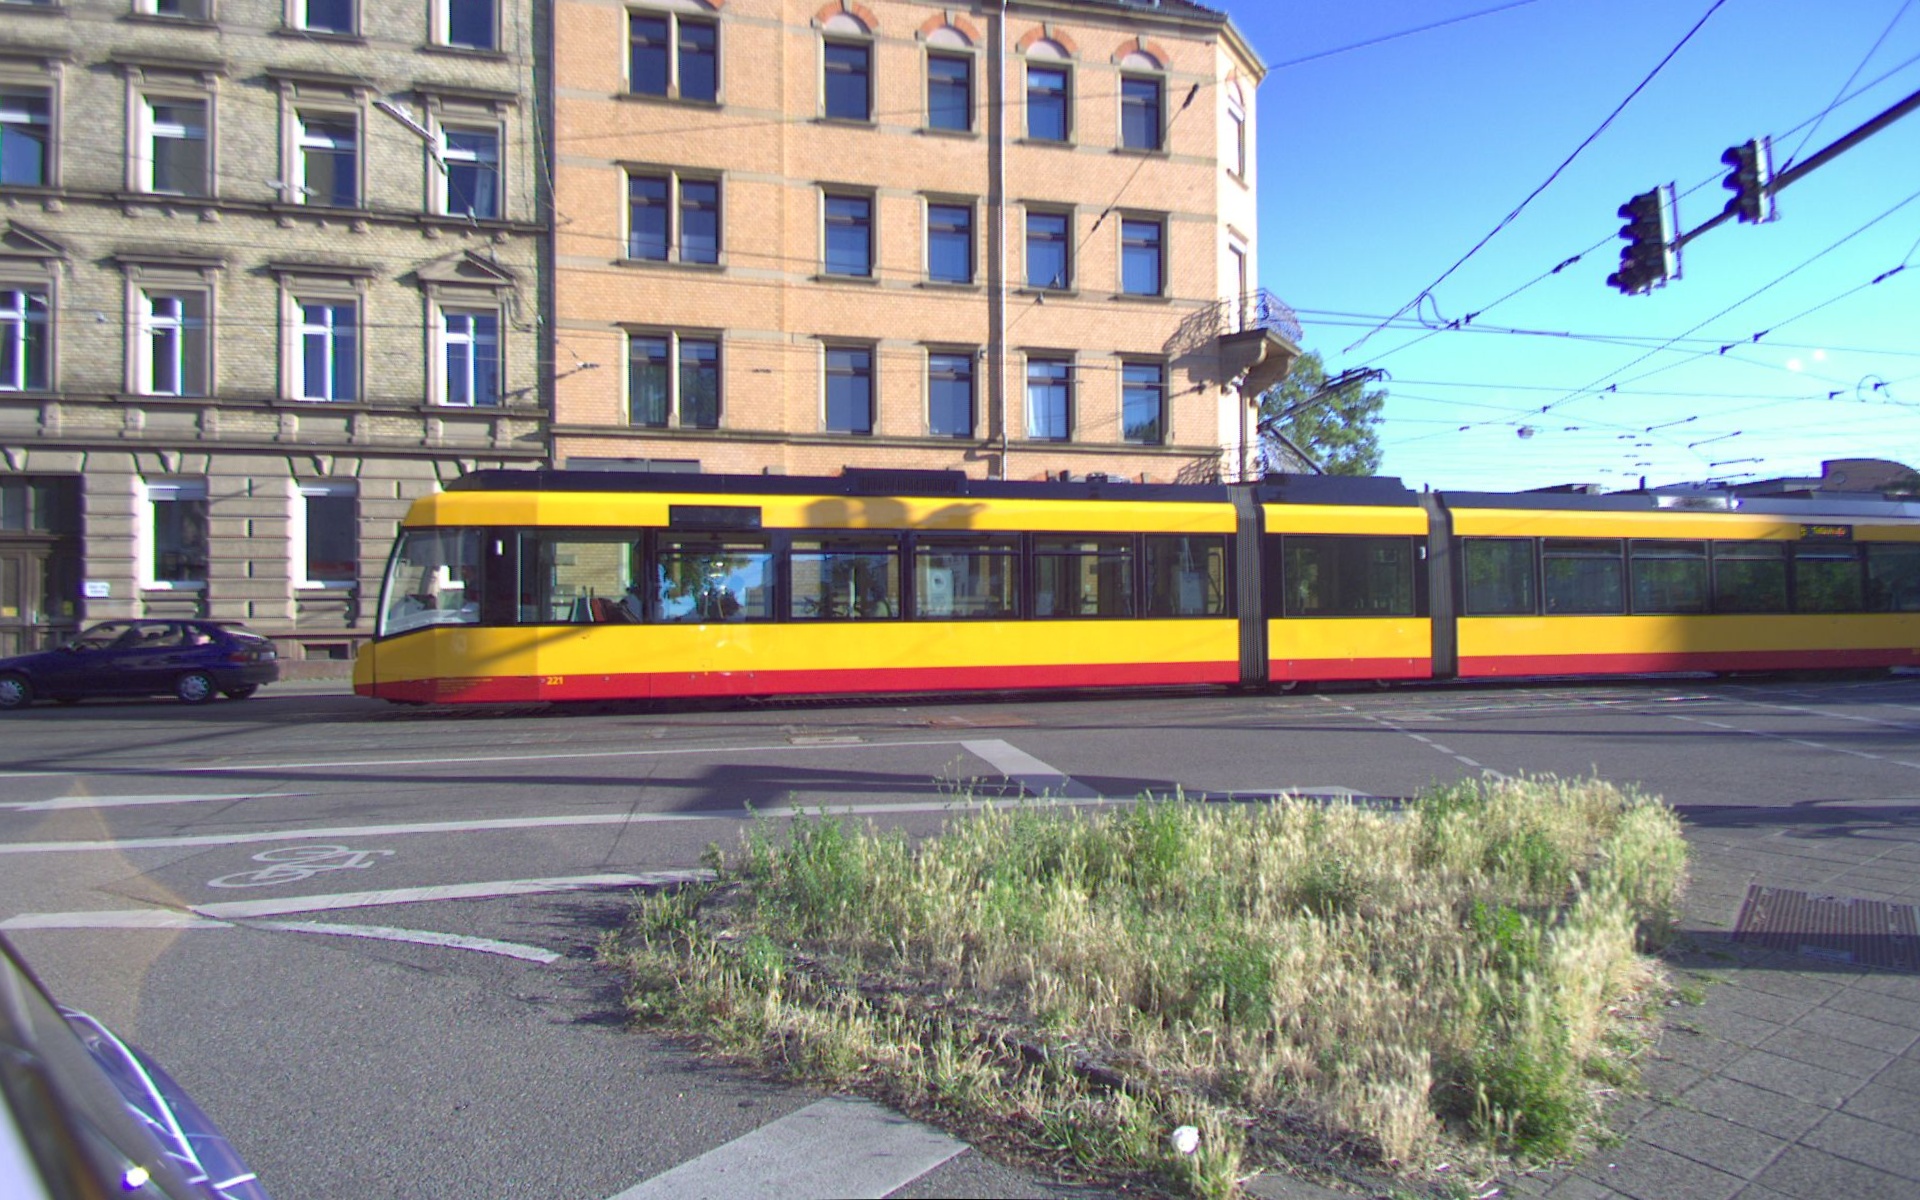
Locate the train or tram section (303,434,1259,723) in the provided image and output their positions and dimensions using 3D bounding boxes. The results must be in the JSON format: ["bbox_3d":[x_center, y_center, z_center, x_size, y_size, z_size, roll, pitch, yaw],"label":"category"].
[{"bbox_3d":[-2.110,-0.276,15.183,12.798,3.534,2.877,0,-1,-13],"label":"train or tram section"}]

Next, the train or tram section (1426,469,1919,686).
[{"bbox_3d":[14.650,-0.366,19.072,11.109,3.534,2.877,0,-1,-13],"label":"train or tram section"}]

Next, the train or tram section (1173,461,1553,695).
[{"bbox_3d":[6.695,-0.323,17.225,5.215,3.534,2.877,0,-1,-13],"label":"train or tram section"}]

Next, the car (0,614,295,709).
[{"bbox_3d":[-13.353,0.950,16.252,4.094,1.390,1.819,0,-1,-12],"label":"car"}]
